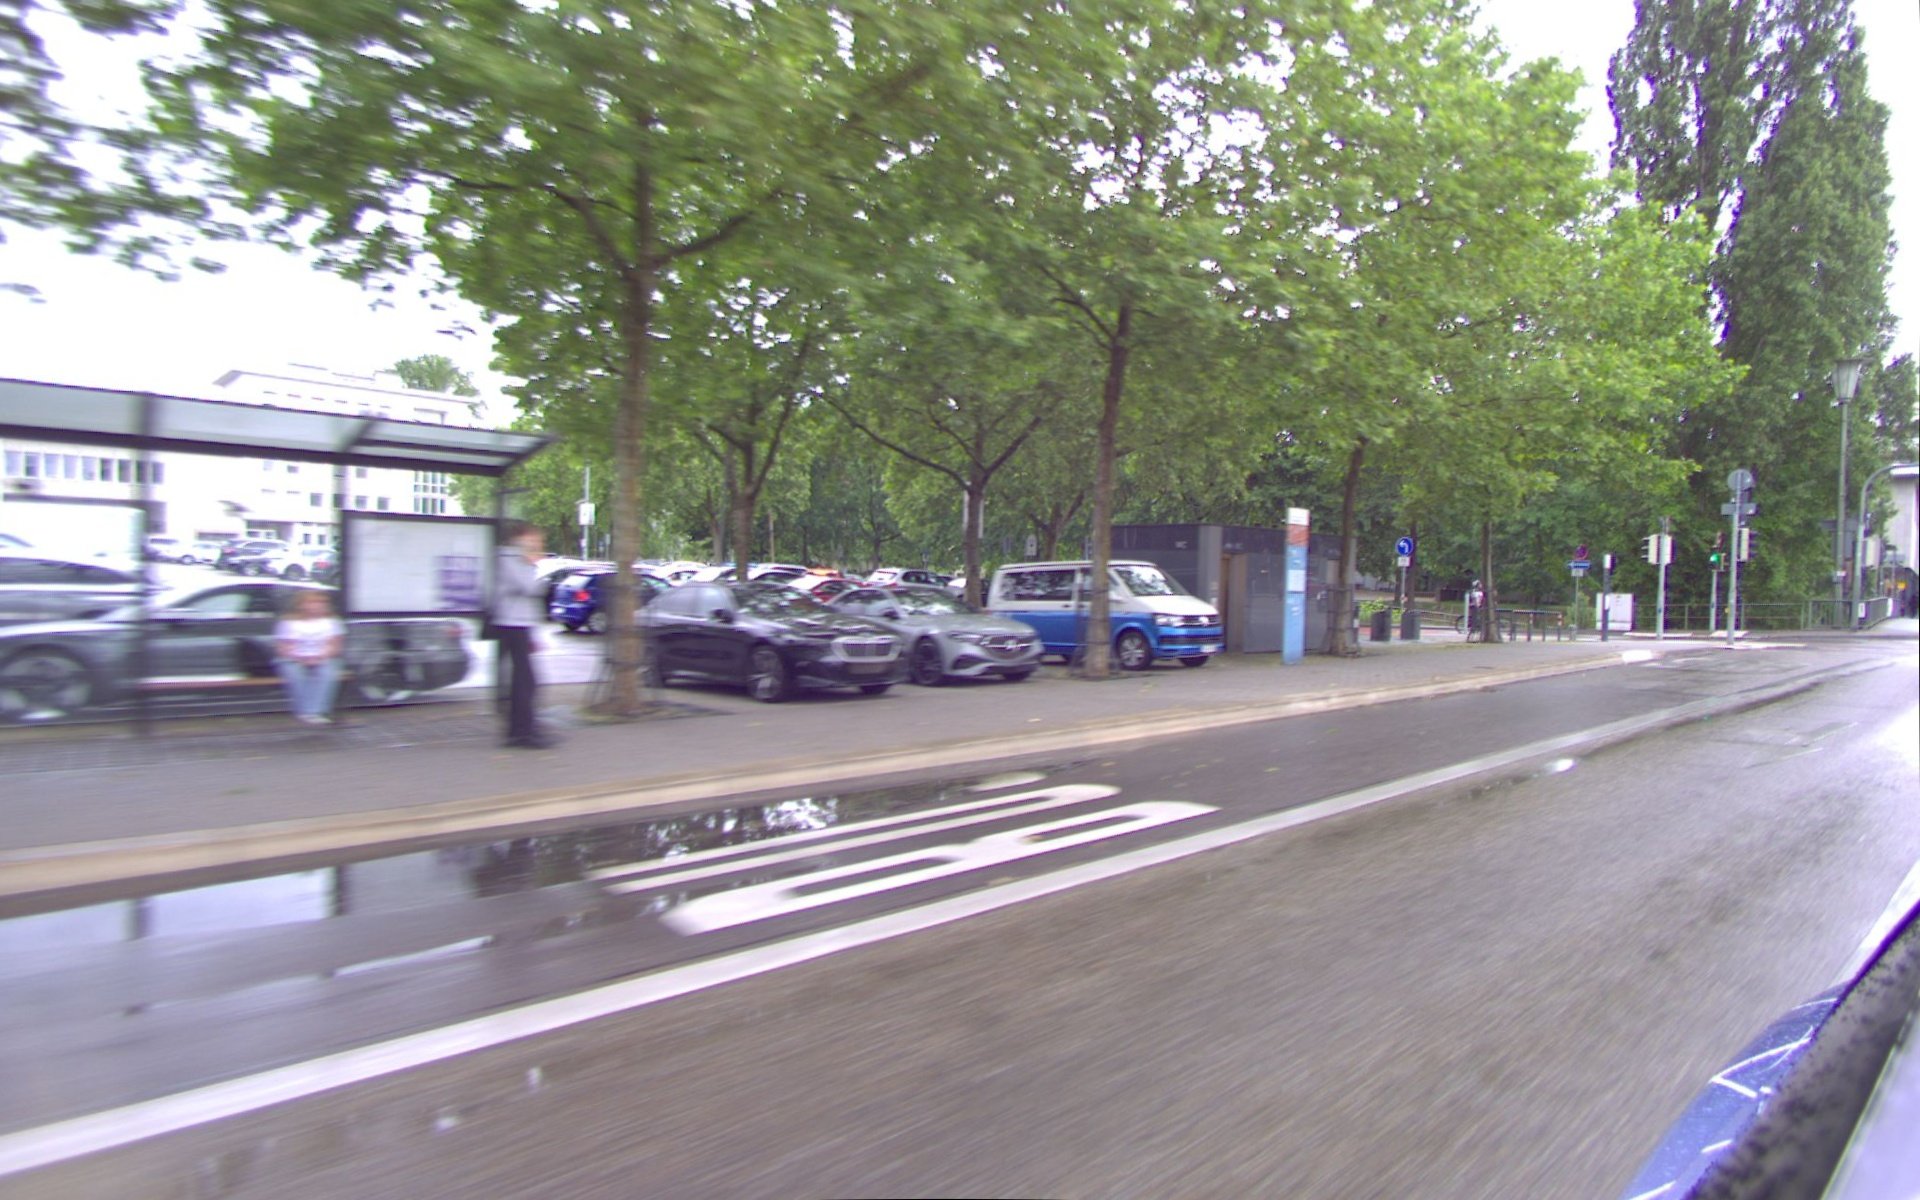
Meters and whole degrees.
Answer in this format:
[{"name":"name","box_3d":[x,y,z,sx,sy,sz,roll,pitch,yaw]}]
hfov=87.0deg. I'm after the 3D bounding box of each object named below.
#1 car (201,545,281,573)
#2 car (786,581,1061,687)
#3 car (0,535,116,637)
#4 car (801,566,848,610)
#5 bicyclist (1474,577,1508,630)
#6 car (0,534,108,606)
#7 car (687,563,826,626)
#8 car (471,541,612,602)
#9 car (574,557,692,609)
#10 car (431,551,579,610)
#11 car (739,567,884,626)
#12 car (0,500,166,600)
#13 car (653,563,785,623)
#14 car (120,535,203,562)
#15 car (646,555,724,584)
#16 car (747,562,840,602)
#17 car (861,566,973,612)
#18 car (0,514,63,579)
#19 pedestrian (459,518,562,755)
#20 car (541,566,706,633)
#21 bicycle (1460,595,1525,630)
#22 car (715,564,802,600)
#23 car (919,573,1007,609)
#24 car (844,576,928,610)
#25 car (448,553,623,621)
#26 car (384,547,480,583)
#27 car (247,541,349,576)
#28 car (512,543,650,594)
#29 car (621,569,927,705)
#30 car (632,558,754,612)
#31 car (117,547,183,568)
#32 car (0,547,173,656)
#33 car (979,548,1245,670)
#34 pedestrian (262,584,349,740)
[{"name":"car","box_3d":[-38.076,-2.187,53.608,3.295,1.251,1.531,2,2,-40]},{"name":"car","box_3d":[-0.739,0.464,15.952,1.829,1.423,4.747,0,0,-40]},{"name":"car","box_3d":[-16.429,-0.271,16.504,3.933,1.610,1.759,2,2,-44]},{"name":"car","box_3d":[-5.388,-0.519,40.250,1.718,1.601,4.007,1,2,-7]},{"name":"bicyclist","box_3d":[18.349,0.109,34.966,0.980,1.792,0.788,2,2,31]},{"name":"car","box_3d":[-18.015,-0.594,18.754,3.299,1.251,1.529,2,2,-44]},{"name":"car","box_3d":[-5.802,-0.149,29.089,3.549,1.612,1.570,2,2,-43]},{"name":"car","box_3d":[-16.744,-1.115,40.677,1.967,2.181,4.807,5,2,43]},{"name":"car","box_3d":[-11.360,-0.573,35.281,3.550,1.612,1.530,2,2,-43]},{"name":"car","box_3d":[-13.115,-0.542,29.288,3.572,1.523,1.529,2,2,-44]},{"name":"car","box_3d":[-4.008,-0.074,27.703,1.527,1.445,3.779,5,2,41]},{"name":"car","box_3d":[-23.462,-1.290,25.682,1.967,2.348,4.934,5,2,43]},{"name":"car","box_3d":[-7.315,-0.192,30.822,3.545,1.612,1.531,2,2,-40]},{"name":"car","box_3d":[-49.156,-3.150,62.343,1.636,1.566,3.867,2,1,44]},{"name":"car","box_3d":[-14.259,-1.555,52.575,3.539,1.441,1.636,0,1,-44]},{"name":"car","box_3d":[-7.547,-0.816,46.043,3.817,1.709,1.778,0,1,-44]},{"name":"car","box_3d":[-1.675,-0.445,40.111,4.371,1.709,1.778,0,1,-44]},{"name":"car","box_3d":[-29.604,-1.681,30.052,1.830,1.853,4.294,5,2,44]},{"name":"pedestrian","box_3d":[-3.765,0.275,8.459,0.742,1.864,0.735,0,1,-28]},{"name":"car","box_3d":[-7.822,-0.046,23.676,1.636,1.439,3.302,2,2,44]},{"name":"bicycle","box_3d":[18.406,0.414,34.991,1.918,1.108,0.643,2,2,31]},{"name":"car","box_3d":[-9.798,-0.884,49.352,3.817,1.709,1.778,0,1,-44]},{"name":"car","box_3d":[0.174,-0.413,45.608,3.816,1.525,1.778,0,1,-43]},{"name":"car","box_3d":[-3.550,-0.352,48.795,3.816,1.566,1.714,0,1,-43]},{"name":"car","box_3d":[-11.330,-0.335,27.141,3.980,1.584,1.617,2,2,-40]},{"name":"car","box_3d":[-23.815,-1.572,45.727,3.539,1.536,1.636,0,1,-44]},{"name":"car","box_3d":[-28.377,-1.772,43.451,1.525,1.251,3.309,4,2,38]},{"name":"car","box_3d":[-14.562,-1.180,39.108,1.967,1.690,4.558,5,2,43]},{"name":"car","box_3d":[-2.603,0.411,13.436,4.401,1.503,1.833,0,0,45]},{"name":"car","box_3d":[-8.796,-0.474,33.460,3.572,1.577,1.529,2,2,-44]},{"name":"car","box_3d":[-63.875,-3.350,79.835,1.636,1.566,3.867,2,1,44]},{"name":"car","box_3d":[-14.072,-0.018,14.376,4.371,1.458,1.735,2,2,-45]},{"name":"car","box_3d":[2.664,0.167,18.830,1.916,1.967,4.844,0,-1,-40]},{"name":"pedestrian","box_3d":[-5.895,0.531,9.140,0.613,1.338,0.634,0,1,-29]}]
